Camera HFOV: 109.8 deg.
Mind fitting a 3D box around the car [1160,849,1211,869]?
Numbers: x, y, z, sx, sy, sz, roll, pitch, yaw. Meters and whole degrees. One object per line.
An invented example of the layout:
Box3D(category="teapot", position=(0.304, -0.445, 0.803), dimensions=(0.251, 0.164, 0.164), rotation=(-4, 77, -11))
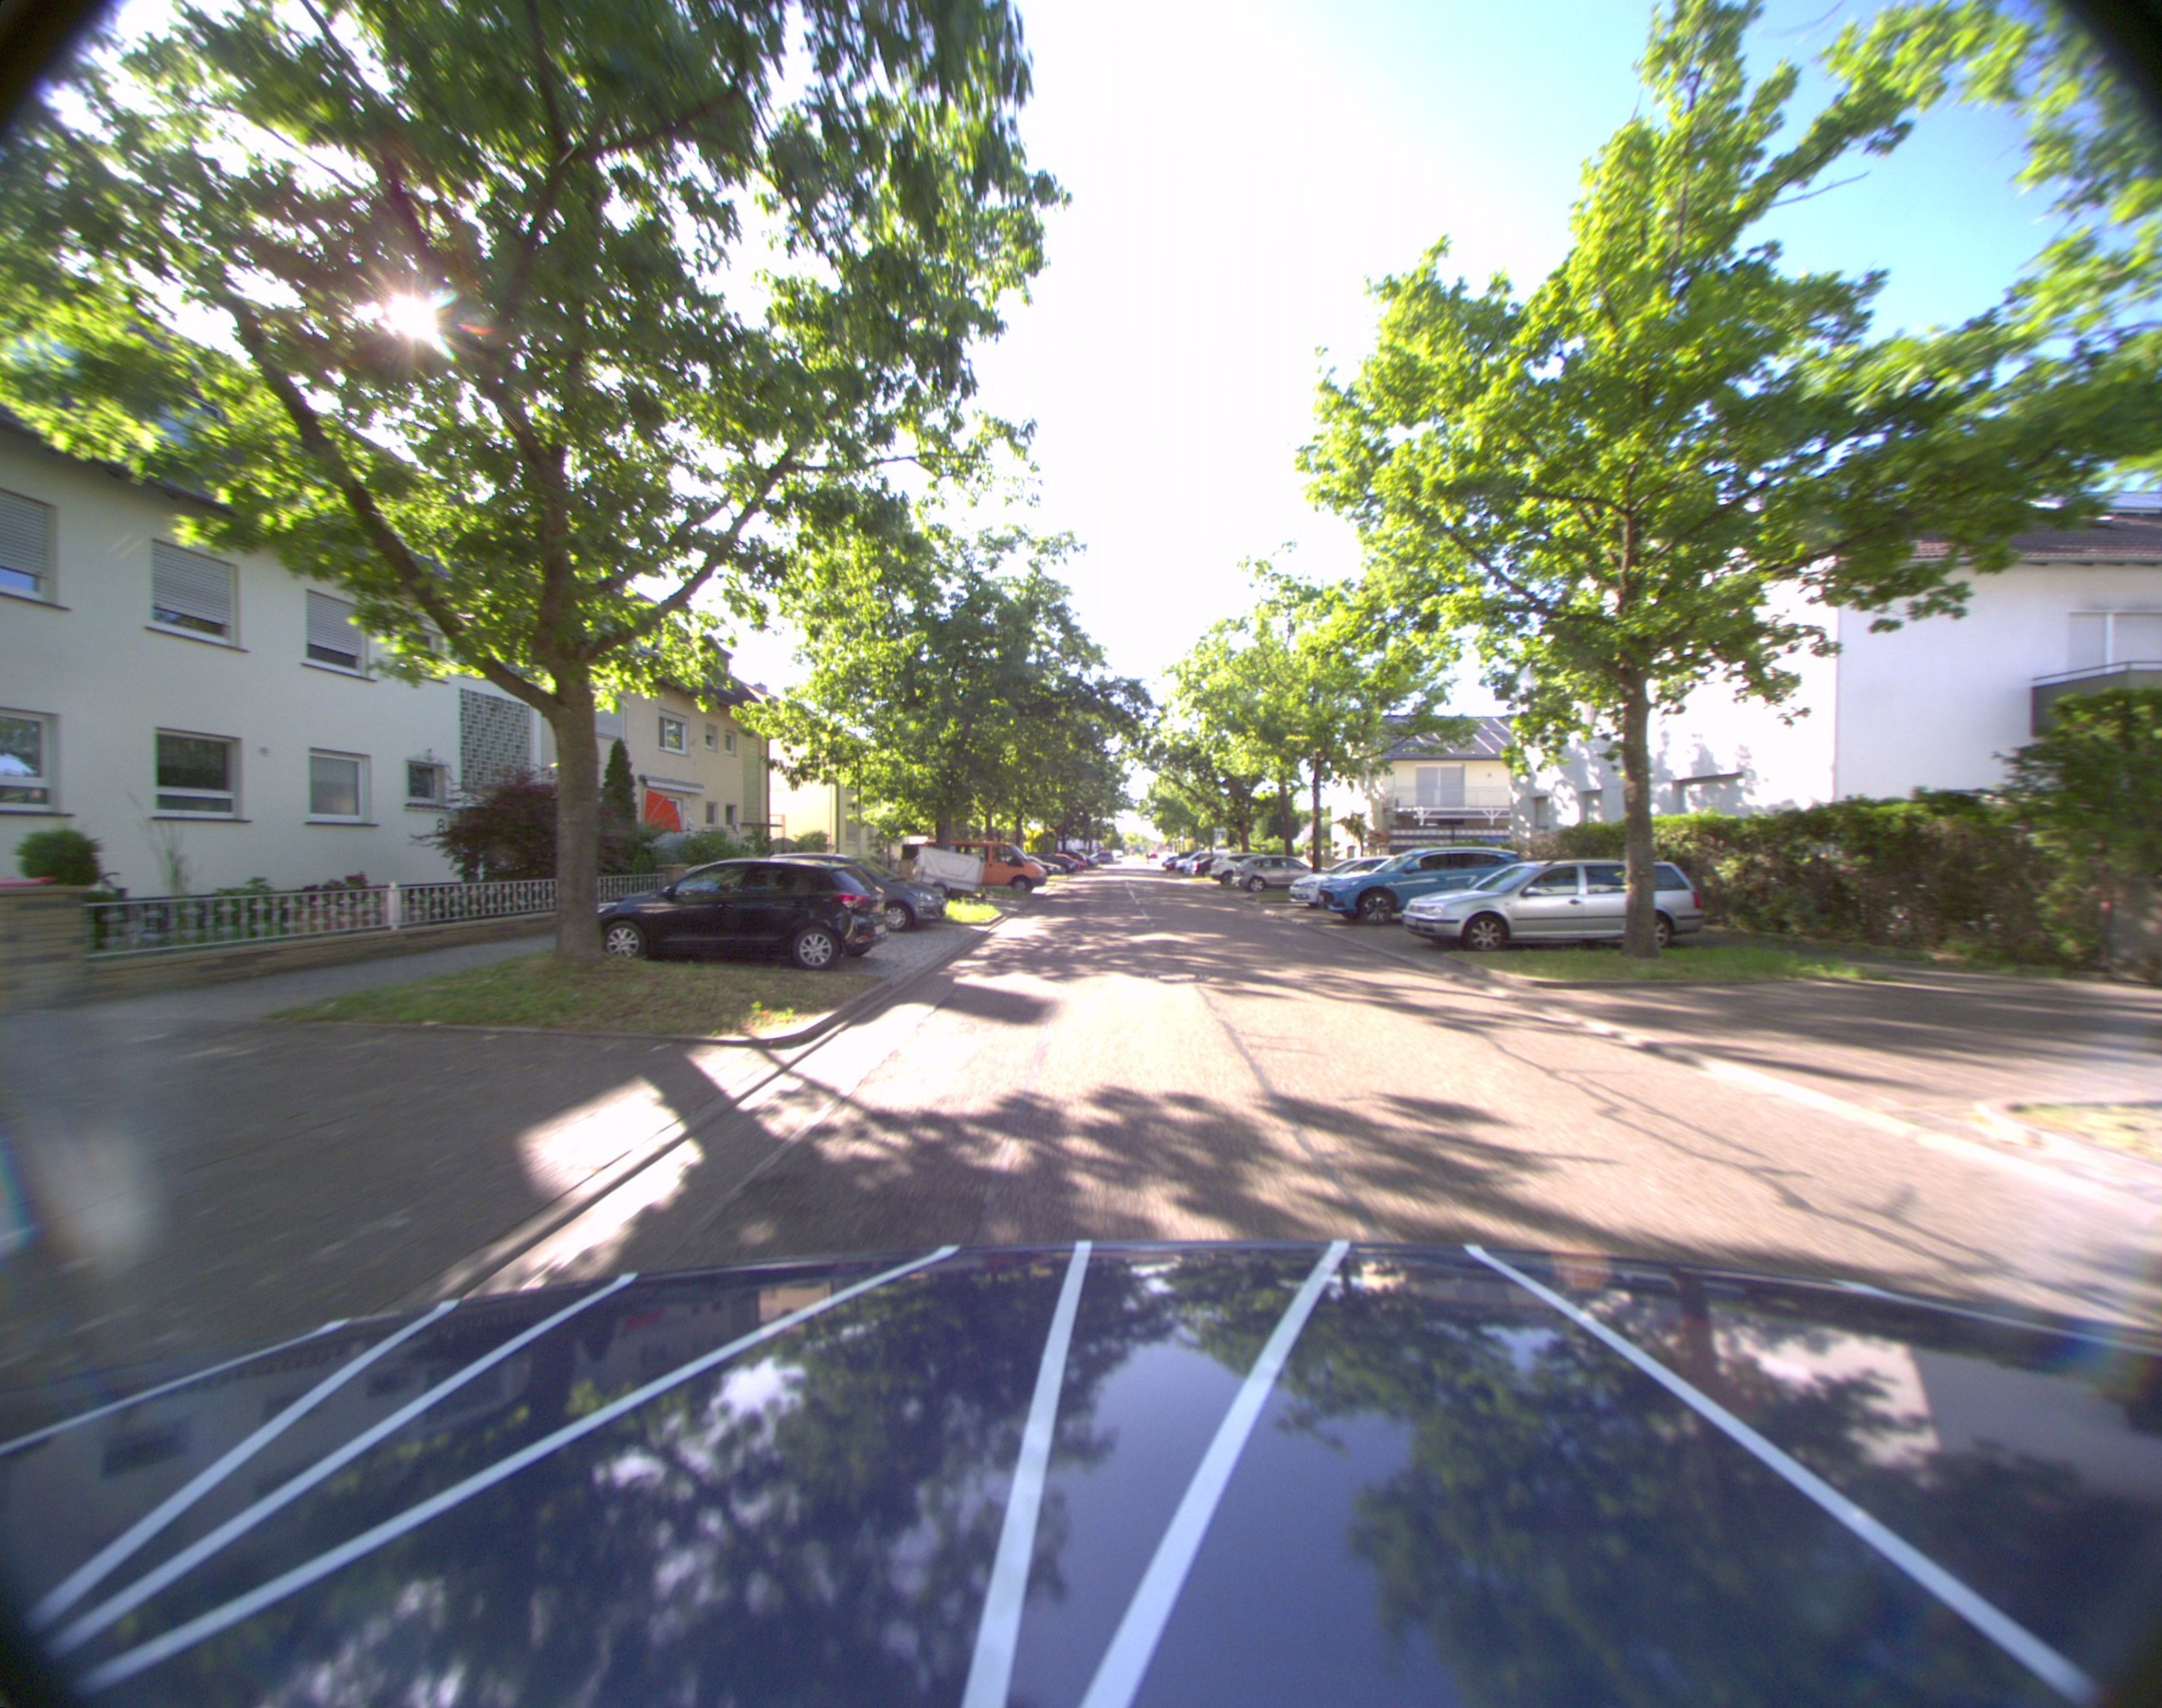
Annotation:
Box3D(category="car", position=(9.868, 0.491, 72.071), dimensions=(4.684, 1.758, 1.795), rotation=(-2, 0, 3))

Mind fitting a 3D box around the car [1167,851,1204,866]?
Box3D(category="car", position=(11.383, 0.515, 82.957), dimensions=(4.009, 1.506, 1.796), rotation=(1, 0, 5))

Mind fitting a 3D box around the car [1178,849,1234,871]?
Box3D(category="car", position=(10.255, 0.479, 62.493), dimensions=(4.249, 1.760, 1.967), rotation=(-1, 1, 1))

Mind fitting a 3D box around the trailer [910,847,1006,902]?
Box3D(category="trailer", position=(-4.070, 0.664, 25.480), dimensions=(2.954, 1.655, 1.614), rotation=(2, 2, -4))

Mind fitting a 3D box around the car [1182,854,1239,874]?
Box3D(category="car", position=(9.742, 0.734, 57.153), dimensions=(3.997, 1.507, 1.690), rotation=(0, 1, 0))

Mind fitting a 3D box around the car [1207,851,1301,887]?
Box3D(category="car", position=(8.334, 0.707, 36.838), dimensions=(4.196, 1.558, 1.792), rotation=(-2, 0, 4))

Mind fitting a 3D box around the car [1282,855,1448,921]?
Box3D(category="car", position=(8.033, 0.921, 21.779), dimensions=(3.996, 1.587, 1.857), rotation=(2, 2, 2))

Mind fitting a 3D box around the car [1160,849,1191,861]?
Box3D(category="car", position=(12.872, 0.134, 103.898), dimensions=(3.963, 1.565, 1.921), rotation=(-1, 2, -2))

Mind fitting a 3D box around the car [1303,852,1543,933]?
Box3D(category="car", position=(7.566, 0.827, 17.189), dimensions=(4.534, 1.622, 1.938), rotation=(-1, 1, 4))

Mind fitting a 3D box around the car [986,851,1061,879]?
Box3D(category="car", position=(-3.447, 0.635, 46.114), dimensions=(4.348, 1.551, 1.868), rotation=(1, 1, 2))

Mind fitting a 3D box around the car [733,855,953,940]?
Box3D(category="car", position=(-4.785, 0.860, 15.703), dimensions=(3.997, 1.614, 1.757), rotation=(0, 2, -1))

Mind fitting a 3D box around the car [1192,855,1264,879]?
Box3D(category="car", position=(9.001, 0.778, 46.915), dimensions=(4.219, 1.463, 1.691), rotation=(0, 1, 5))

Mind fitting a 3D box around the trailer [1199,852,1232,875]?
Box3D(category="trailer", position=(9.666, 0.665, 54.808), dimensions=(2.240, 1.664, 1.475), rotation=(0, 0, 7))

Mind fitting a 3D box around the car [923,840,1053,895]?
Box3D(category="car", position=(-3.625, 0.509, 30.124), dimensions=(4.830, 2.071, 2.086), rotation=(0, 1, 2))

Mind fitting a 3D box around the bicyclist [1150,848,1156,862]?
Box3D(category="bicyclist", position=(9.313, 0.129, 98.345), dimensions=(0.597, 1.664, 0.975), rotation=(3, 1, 4))

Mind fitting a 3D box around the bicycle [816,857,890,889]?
Box3D(category="bicycle", position=(-9.179, 0.756, 30.630), dimensions=(2.865, 1.230, 0.468), rotation=(1, 1, 3))

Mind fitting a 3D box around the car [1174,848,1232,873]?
Box3D(category="car", position=(9.548, 0.473, 59.743), dimensions=(4.247, 1.933, 2.000), rotation=(0, 1, 0))

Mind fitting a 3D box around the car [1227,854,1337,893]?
Box3D(category="car", position=(8.263, 0.777, 31.524), dimensions=(4.044, 1.415, 1.810), rotation=(-2, 1, 1))

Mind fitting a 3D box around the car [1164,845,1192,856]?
Box3D(category="car", position=(12.977, -0.423, 101.742), dimensions=(3.522, 1.487, 1.708), rotation=(0, 0, 2))

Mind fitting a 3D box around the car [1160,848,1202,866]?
Box3D(category="car", position=(10.473, 0.329, 79.662), dimensions=(4.219, 1.714, 1.761), rotation=(-1, 1, 4))

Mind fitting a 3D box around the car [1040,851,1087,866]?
Box3D(category="car", position=(-1.776, 0.460, 77.267), dimensions=(4.512, 1.437, 1.839), rotation=(1, 1, 5))

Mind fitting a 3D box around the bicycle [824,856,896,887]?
Box3D(category="bicycle", position=(-9.206, 0.720, 31.616), dimensions=(2.865, 1.230, 0.468), rotation=(1, 2, 3))

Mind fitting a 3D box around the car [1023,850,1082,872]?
Box3D(category="car", position=(-2.268, 0.538, 61.459), dimensions=(4.584, 1.637, 1.838), rotation=(2, 1, 3))

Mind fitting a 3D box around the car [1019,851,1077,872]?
Box3D(category="car", position=(-2.522, 0.556, 58.858), dimensions=(4.330, 1.521, 1.841), rotation=(2, 0, 2))

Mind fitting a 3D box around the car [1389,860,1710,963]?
Box3D(category="car", position=(7.464, 0.891, 12.393), dimensions=(4.192, 1.483, 1.647), rotation=(-1, 1, 2))

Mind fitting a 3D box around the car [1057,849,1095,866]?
Box3D(category="car", position=(-0.542, 0.374, 86.923), dimensions=(4.221, 1.771, 1.790), rotation=(2, 1, 4))

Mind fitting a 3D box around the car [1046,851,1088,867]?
Box3D(category="car", position=(-1.330, 0.466, 73.412), dimensions=(3.785, 1.476, 1.756), rotation=(1, 2, 5))

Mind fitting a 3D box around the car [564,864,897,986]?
Box3D(category="car", position=(-4.740, 0.920, 10.629), dimensions=(3.891, 1.507, 1.661), rotation=(0, 1, 2))

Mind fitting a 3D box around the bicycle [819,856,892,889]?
Box3D(category="bicycle", position=(-9.237, 0.739, 31.130), dimensions=(2.865, 1.230, 0.468), rotation=(2, 2, 3))

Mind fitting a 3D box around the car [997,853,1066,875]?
Box3D(category="car", position=(-3.301, 0.646, 51.392), dimensions=(4.436, 1.323, 1.691), rotation=(2, 1, 5))

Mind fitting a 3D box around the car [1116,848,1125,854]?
Box3D(category="car", position=(9.886, -0.771, 190.687), dimensions=(1.943, 1.412, 4.001), rotation=(-1, 2, 7))

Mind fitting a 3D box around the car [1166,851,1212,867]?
Box3D(category="car", position=(10.655, 0.495, 75.088), dimensions=(4.283, 1.416, 1.723), rotation=(-1, 0, -2))

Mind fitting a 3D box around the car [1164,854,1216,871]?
Box3D(category="car", position=(9.957, 0.767, 69.643), dimensions=(4.487, 1.491, 1.837), rotation=(0, 1, 3))

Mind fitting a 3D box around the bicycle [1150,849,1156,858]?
Box3D(category="bicycle", position=(9.333, -0.082, 98.380), dimensions=(0.598, 1.052, 1.986), rotation=(3, 1, 4))
